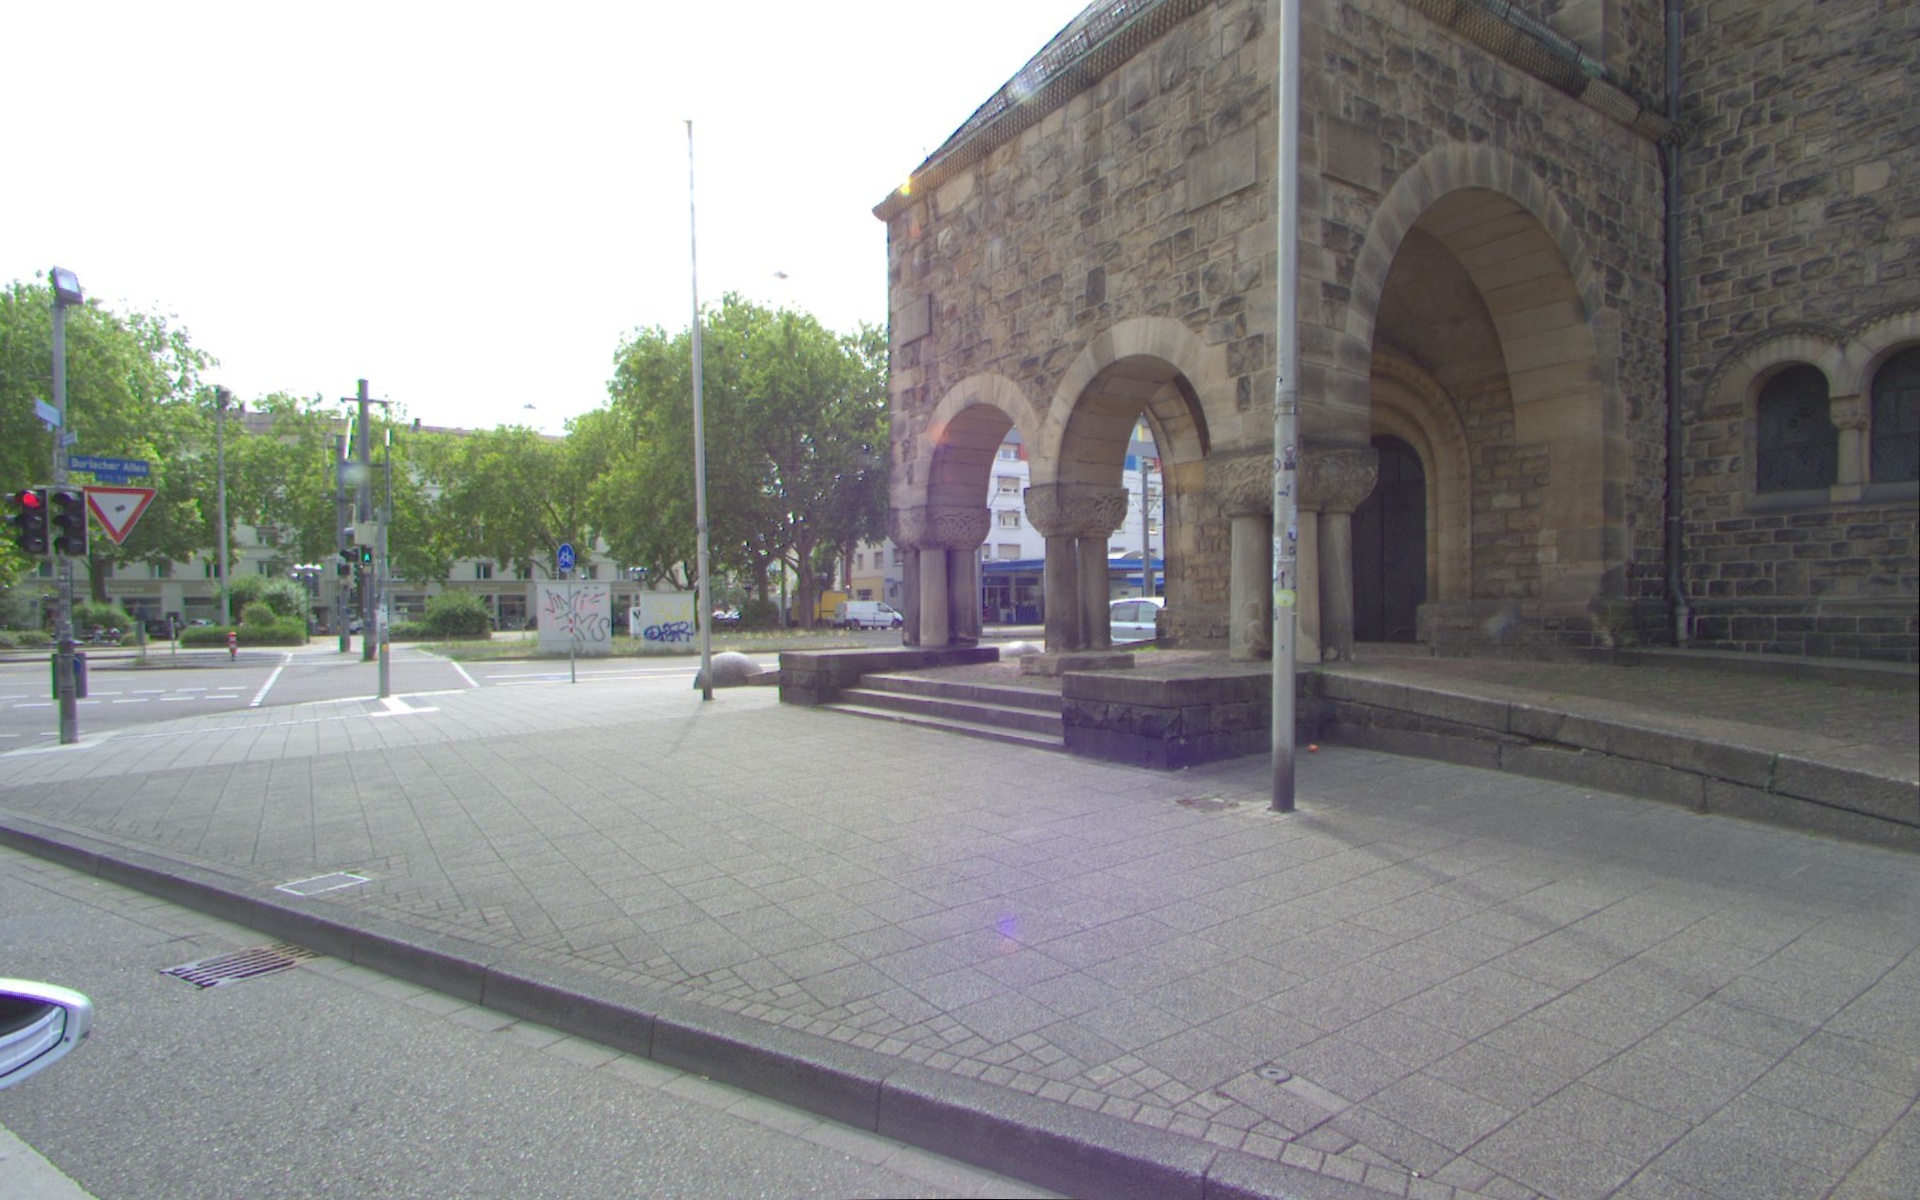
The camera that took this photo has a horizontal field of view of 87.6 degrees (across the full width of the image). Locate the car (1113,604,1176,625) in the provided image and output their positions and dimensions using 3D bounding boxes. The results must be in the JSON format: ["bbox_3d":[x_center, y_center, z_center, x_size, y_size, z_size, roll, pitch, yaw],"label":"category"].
[{"bbox_3d":[14.040,1.079,76.123,4.554,1.535,1.985,0,-1,-31],"label":"car"}]

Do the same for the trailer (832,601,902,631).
[{"bbox_3d":[-6.259,1.041,67.669,4.377,1.951,1.843,0,0,-33],"label":"trailer"}]

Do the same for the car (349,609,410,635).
[{"bbox_3d":[-44.709,1.666,77.125,3.946,1.908,1.846,-1,0,-34],"label":"car"}]

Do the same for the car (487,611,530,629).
[{"bbox_3d":[-39.444,1.763,87.468,3.949,1.523,1.760,-1,0,37],"label":"car"}]

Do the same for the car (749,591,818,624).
[{"bbox_3d":[-14.609,0.627,83.022,5.269,2.618,2.165,0,-1,-36],"label":"car"}]

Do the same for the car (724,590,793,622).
[{"bbox_3d":[-17.300,0.515,86.189,5.269,2.618,2.482,0,-1,-36],"label":"car"}]

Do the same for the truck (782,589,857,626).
[{"bbox_3d":[-10.443,0.574,73.918,3.040,2.612,6.468,-1,0,-34],"label":"truck"}]

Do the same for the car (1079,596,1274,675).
[{"bbox_3d":[4.688,0.722,22.176,1.992,1.563,4.002,0,0,-33],"label":"car"}]

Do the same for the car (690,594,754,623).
[{"bbox_3d":[-22.001,0.804,92.684,5.269,2.618,2.482,0,-1,-36],"label":"car"}]

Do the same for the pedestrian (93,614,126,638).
[{"bbox_3d":[-48.038,1.465,56.585,1.422,1.252,1.087,-1,1,37],"label":"pedestrian"}]

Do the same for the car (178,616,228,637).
[{"bbox_3d":[-56.966,1.955,75.337,3.949,1.523,1.986,-1,0,37],"label":"car"}]
